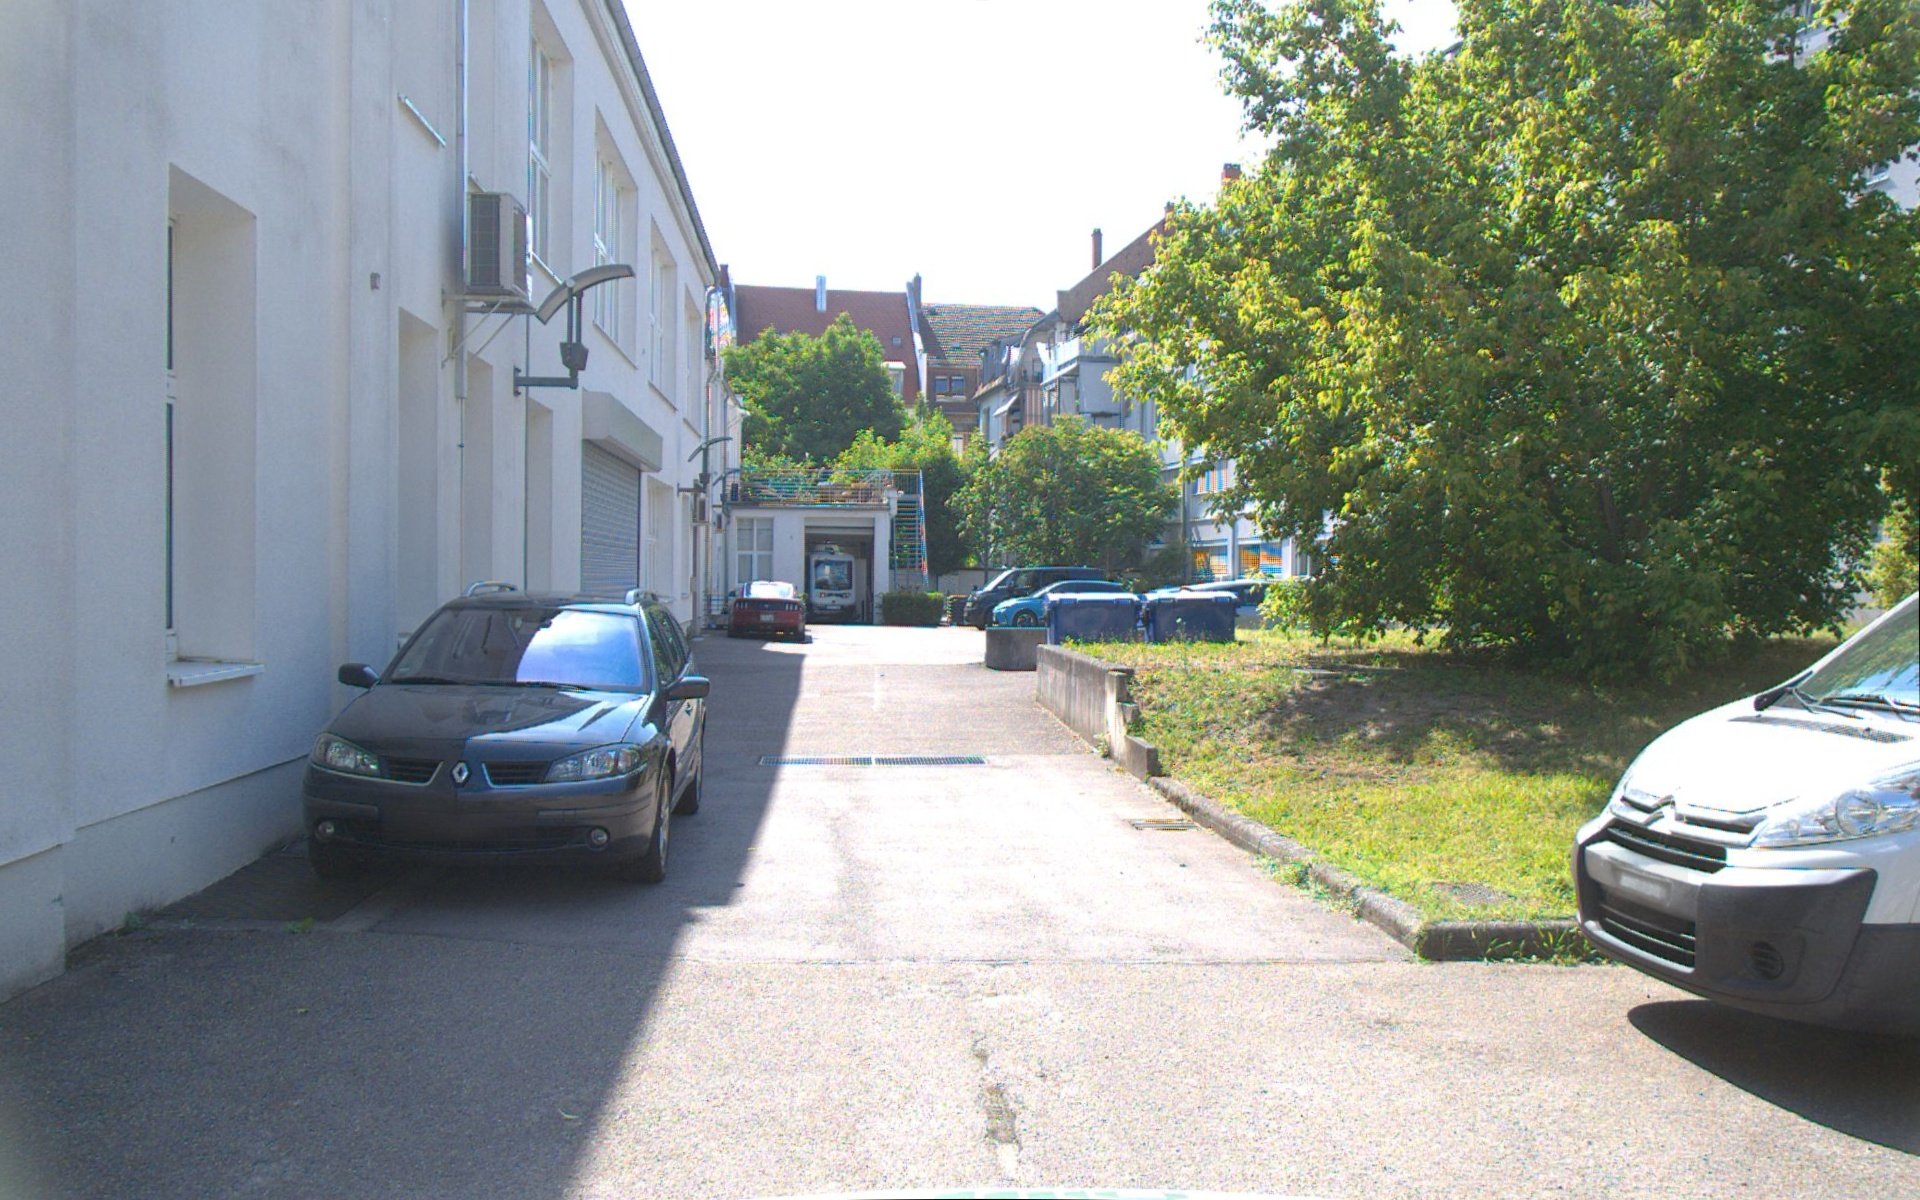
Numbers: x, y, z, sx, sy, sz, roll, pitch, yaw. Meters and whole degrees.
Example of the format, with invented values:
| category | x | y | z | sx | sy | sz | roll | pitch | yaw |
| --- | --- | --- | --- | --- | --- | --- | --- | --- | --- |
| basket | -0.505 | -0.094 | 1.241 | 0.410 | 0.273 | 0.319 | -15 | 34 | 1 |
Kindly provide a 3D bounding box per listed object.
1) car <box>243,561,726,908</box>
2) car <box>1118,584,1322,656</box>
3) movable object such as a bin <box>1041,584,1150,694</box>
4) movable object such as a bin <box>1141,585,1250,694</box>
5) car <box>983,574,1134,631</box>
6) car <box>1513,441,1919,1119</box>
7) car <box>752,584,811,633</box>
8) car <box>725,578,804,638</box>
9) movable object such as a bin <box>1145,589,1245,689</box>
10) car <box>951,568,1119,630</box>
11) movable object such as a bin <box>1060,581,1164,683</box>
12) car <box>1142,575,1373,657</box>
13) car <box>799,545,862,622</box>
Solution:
| category | x | y | z | sx | sy | sz | roll | pitch | yaw |
| --- | --- | --- | --- | --- | --- | --- | --- | --- | --- |
| car | -2.397 | 0.636 | 9.518 | 1.801 | 1.467 | 4.424 | 3 | -1 | -5 |
| car | 5.378 | 0.393 | 34.481 | 3.909 | 1.418 | 1.687 | -1 | 1 | -5 |
| movable object such as a bin | 1.734 | 0.491 | 21.398 | 1.222 | 1.342 | 1.141 | -2 | -1 | -3 |
| movable object such as a bin | 3.039 | 0.492 | 21.503 | 1.222 | 1.364 | 1.142 | 0 | 1 | -2 |
| car | 2.891 | 0.052 | 48.885 | 4.150 | 1.559 | 1.997 | -1 | 2 | -8 |
| car | 4.793 | 0.519 | 5.962 | 4.924 | 1.966 | 1.999 | 0 | 1 | -4 |
| car | -5.172 | 0.217 | 48.173 | 1.582 | 1.318 | 3.755 | -1 | 1 | -4 |
| car | -4.823 | 0.168 | 41.183 | 1.816 | 1.342 | 3.996 | 2 | 1 | -6 |
| movable object such as a bin | 3.309 | 0.534 | 23.405 | 1.133 | 1.359 | 1.140 | 0 | 1 | -8 |
| car | 2.348 | -0.059 | 52.099 | 4.874 | 1.798 | 2.087 | -1 | 2 | -18 |
| movable object such as a bin | 2.120 | 0.431 | 23.231 | 1.224 | 1.379 | 1.127 | 0 | 1 | -8 |
| car | 5.539 | 0.279 | 31.007 | 3.912 | 1.452 | 1.809 | -1 | 1 | -8 |
| car | -4.764 | -0.599 | 61.067 | 2.131 | 2.652 | 6.728 | -1 | 0 | -4 |
